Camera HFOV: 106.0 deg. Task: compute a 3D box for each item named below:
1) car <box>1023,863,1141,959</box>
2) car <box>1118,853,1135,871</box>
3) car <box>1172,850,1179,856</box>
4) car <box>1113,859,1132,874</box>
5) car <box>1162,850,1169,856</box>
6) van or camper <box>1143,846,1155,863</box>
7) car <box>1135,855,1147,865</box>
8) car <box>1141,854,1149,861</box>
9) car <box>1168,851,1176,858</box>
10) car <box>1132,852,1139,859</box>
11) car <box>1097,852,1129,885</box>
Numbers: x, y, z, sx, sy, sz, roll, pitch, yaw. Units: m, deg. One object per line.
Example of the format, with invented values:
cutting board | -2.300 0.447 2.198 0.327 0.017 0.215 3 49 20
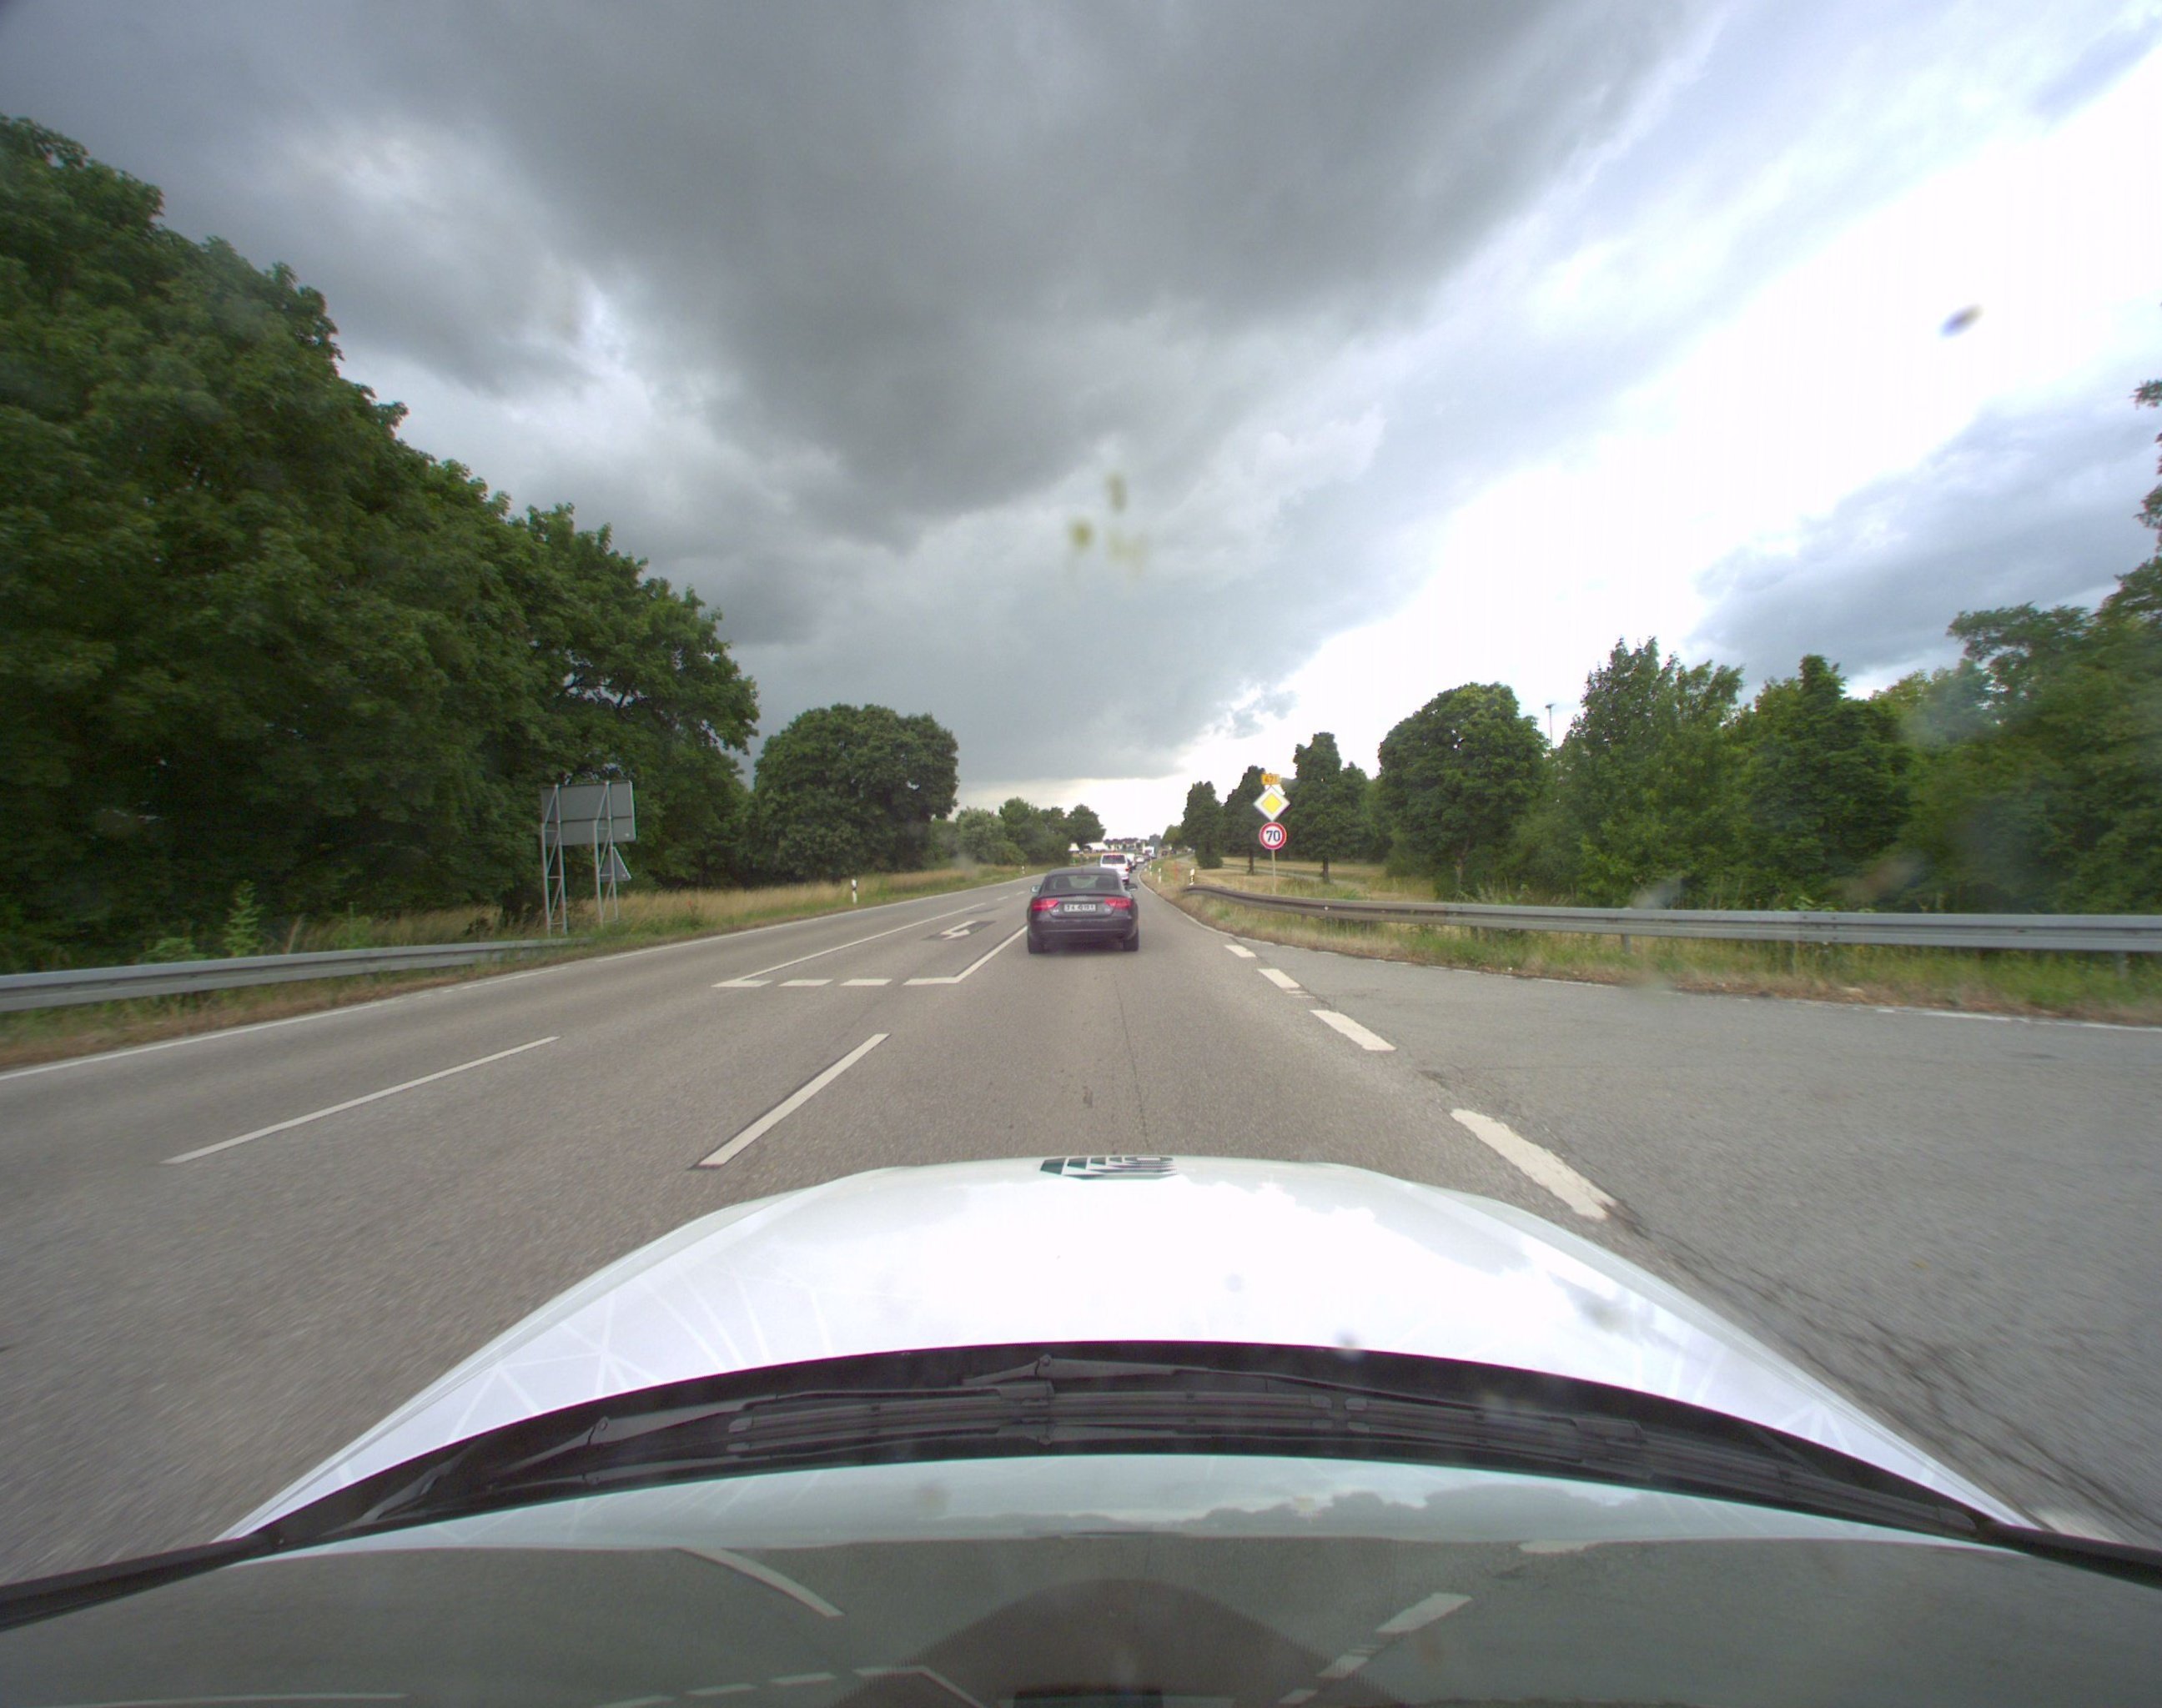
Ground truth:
car | 0.073 0.881 14.357 1.776 1.376 4.001 -1 0 2
car | 5.562 1.009 99.416 1.984 2.088 4.005 -2 0 4
car | 25.912 -0.300 223.330 1.814 1.596 4.003 -1 0 3
car | 4.342 1.324 84.165 1.787 1.464 3.253 -1 0 5
car | 22.235 -0.190 214.977 1.712 1.451 4.003 -1 0 3
van or camper | 14.245 0.136 171.272 2.329 3.481 5.726 -1 0 5
car | 9.982 0.956 135.548 1.726 1.514 3.754 -2 0 8
car | 11.892 0.640 152.074 1.251 1.353 3.473 -2 0 8
car | 26.596 0.080 239.129 1.986 2.014 4.001 -1 0 1
car | 14.999 0.407 224.087 1.589 1.802 3.202 -1 0 2
car | 1.961 0.864 50.534 1.832 1.882 4.001 -1 0 2
